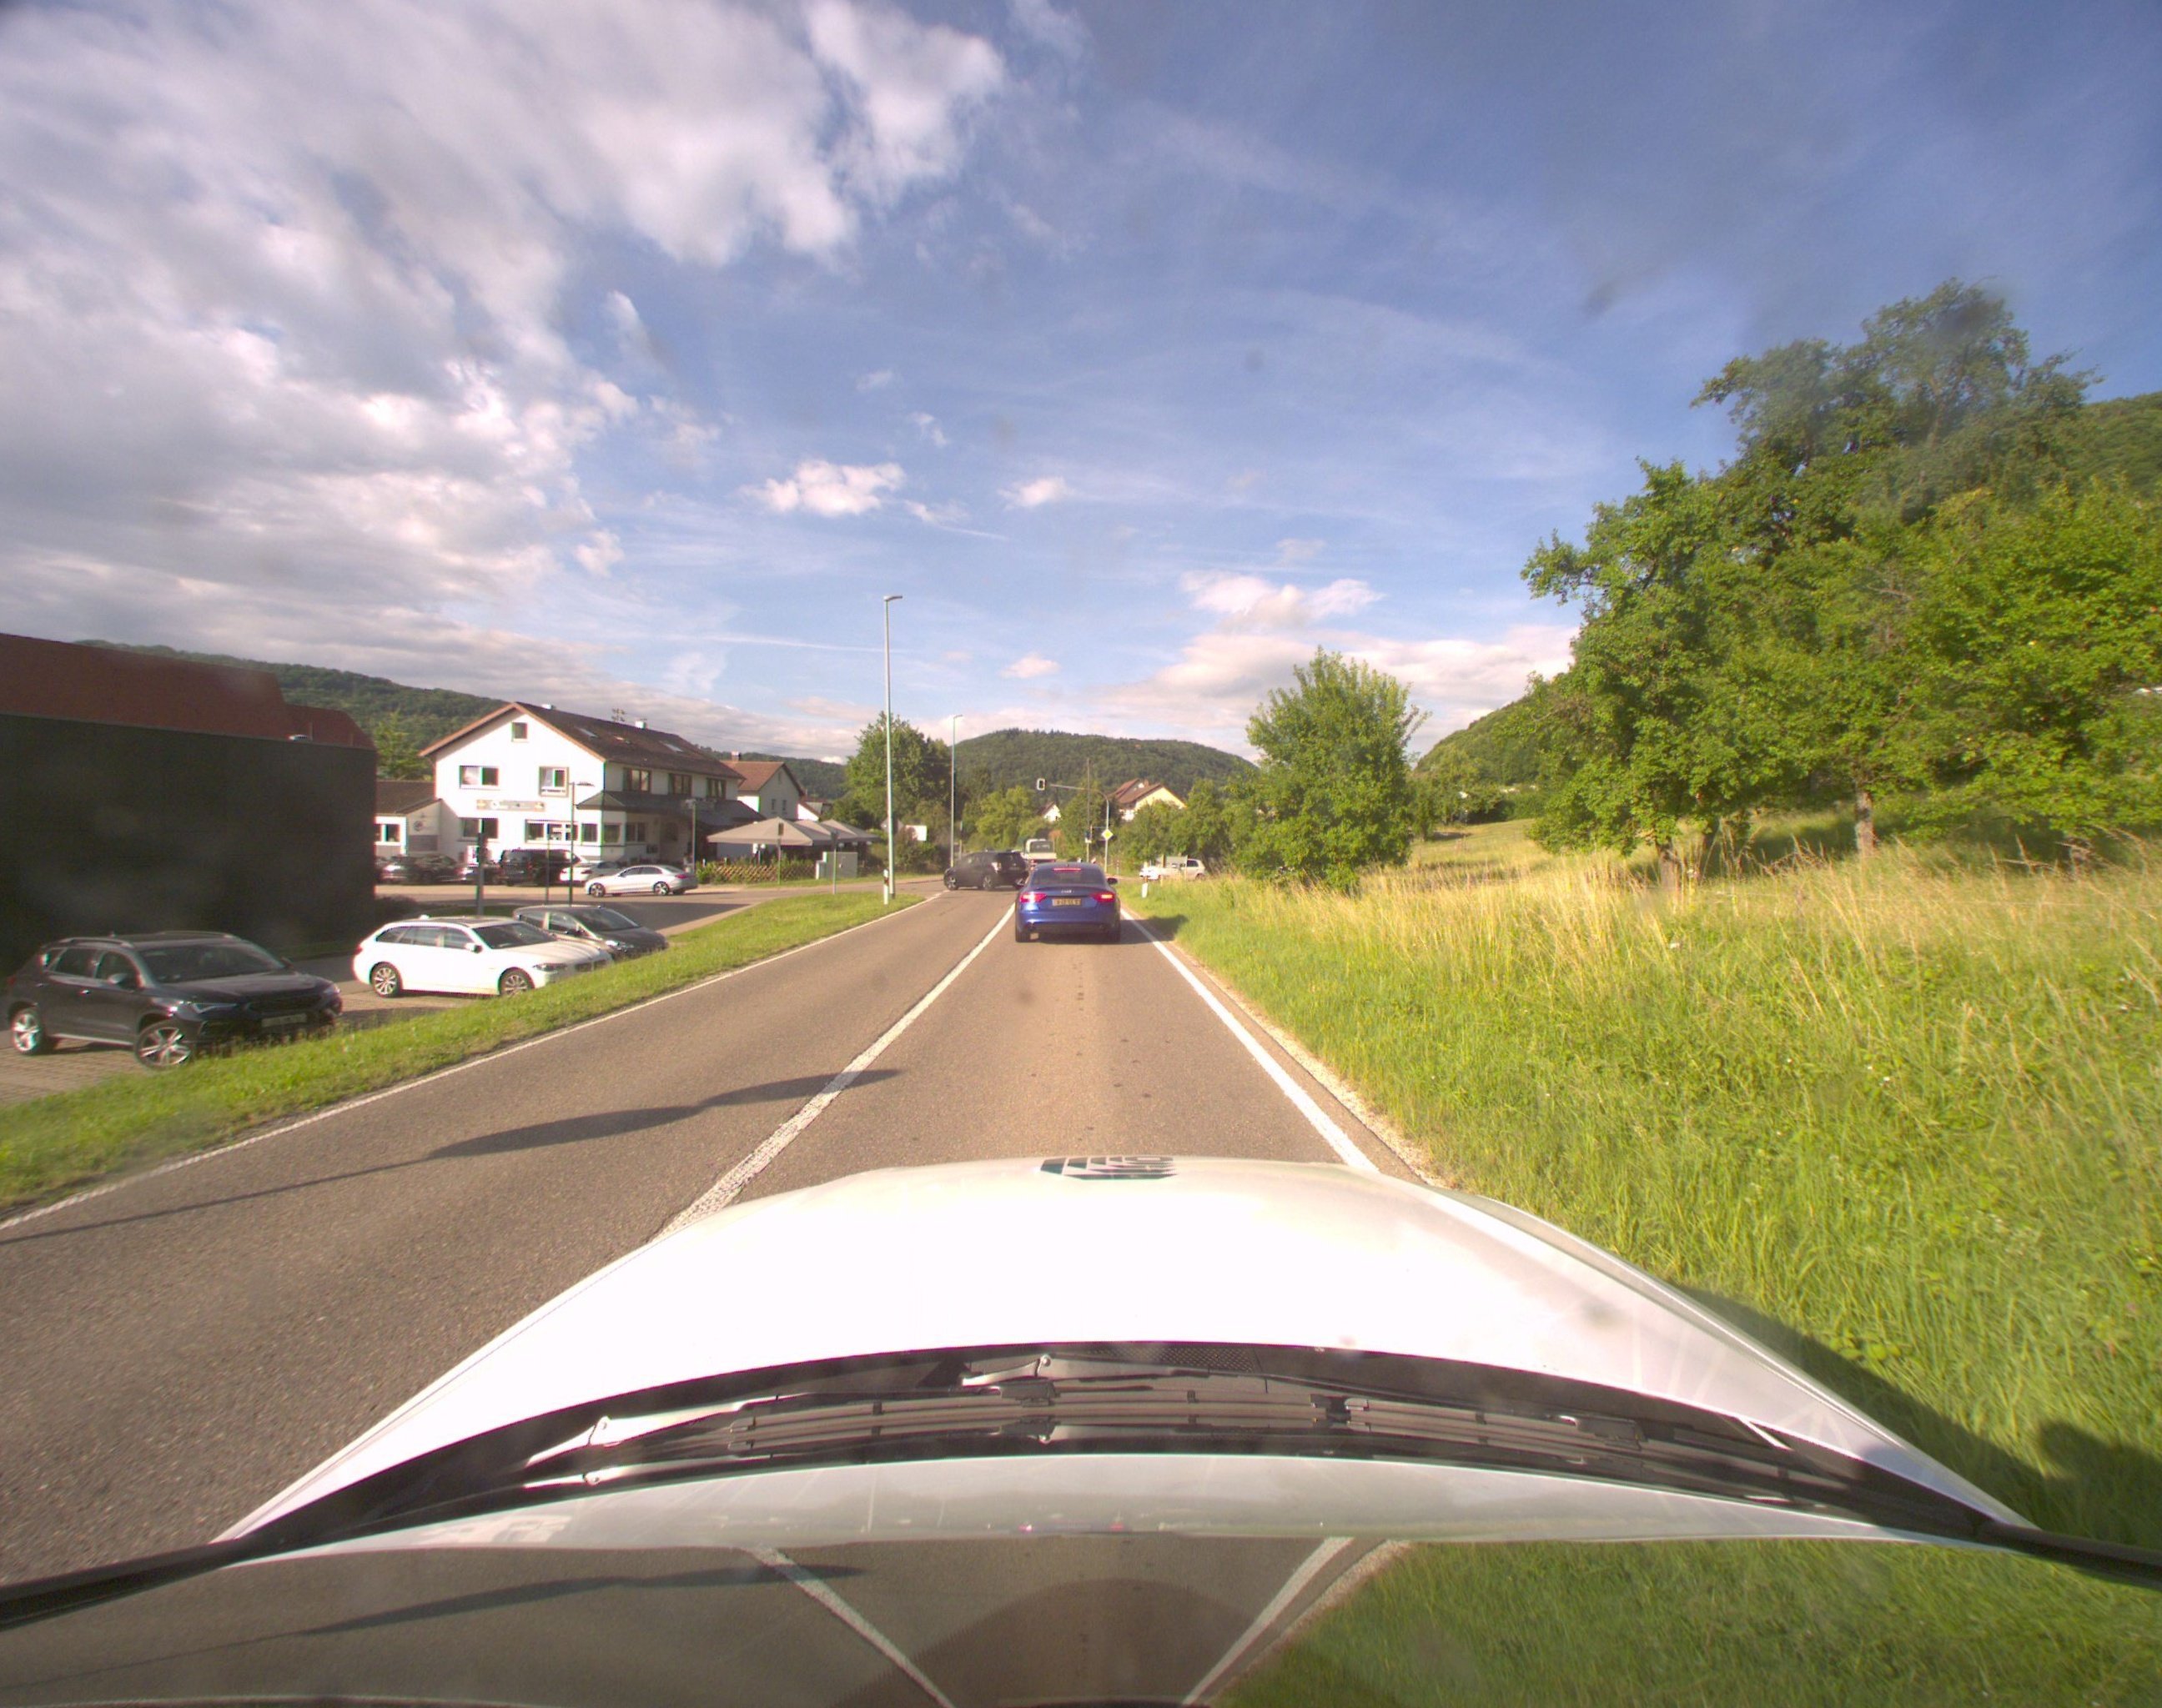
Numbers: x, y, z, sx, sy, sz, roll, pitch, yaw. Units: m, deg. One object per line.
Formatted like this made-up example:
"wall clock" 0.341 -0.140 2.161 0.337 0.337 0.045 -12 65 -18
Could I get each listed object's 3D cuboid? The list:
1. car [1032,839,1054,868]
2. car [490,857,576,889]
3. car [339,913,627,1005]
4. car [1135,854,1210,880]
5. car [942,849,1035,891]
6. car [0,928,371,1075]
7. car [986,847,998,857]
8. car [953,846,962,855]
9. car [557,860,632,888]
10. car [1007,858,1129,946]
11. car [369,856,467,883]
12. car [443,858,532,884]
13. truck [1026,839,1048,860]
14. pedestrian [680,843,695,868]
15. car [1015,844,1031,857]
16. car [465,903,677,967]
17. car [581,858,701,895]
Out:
"car" -3.010 -0.015 64.940 1.742 2.195 3.996 0 -1 -3
"car" -29.818 1.004 44.482 1.880 1.662 4.001 0 -1 1
"car" -11.766 1.990 16.123 4.780 1.493 1.888 0 -1 13
"car" 5.398 0.775 48.292 4.060 1.508 1.841 0 -1 -22
"car" -3.893 0.635 33.849 3.950 1.639 1.762 -1 -1 45
"car" -12.892 2.000 11.736 3.997 1.637 2.007 0 -1 13
"car" -13.890 -0.350 127.226 1.695 1.490 3.520 0 -1 -6
"car" -24.301 -0.677 160.538 1.625 1.576 3.668 0 -1 -8
"car" -26.220 1.072 44.061 1.550 1.450 4.001 0 -1 1
"car" -0.094 0.801 15.119 1.786 1.388 4.006 -1 -1 6
"car" -34.761 0.802 42.838 1.835 1.354 4.000 0 -1 0
"car" -32.078 0.920 44.152 1.835 1.354 4.000 0 -1 0
"truck" -4.337 -0.387 78.898 1.696 1.953 5.906 0 -1 -8
"pedestrian" -23.635 0.070 48.926 0.606 1.503 0.590 0 -1 1
"car" -6.876 -0.390 96.115 1.696 1.490 3.517 0 -1 -8
"car" -11.812 1.842 18.980 3.963 1.310 1.765 0 -1 9
"car" -20.018 1.016 37.197 4.437 1.639 1.809 0 -1 -3
